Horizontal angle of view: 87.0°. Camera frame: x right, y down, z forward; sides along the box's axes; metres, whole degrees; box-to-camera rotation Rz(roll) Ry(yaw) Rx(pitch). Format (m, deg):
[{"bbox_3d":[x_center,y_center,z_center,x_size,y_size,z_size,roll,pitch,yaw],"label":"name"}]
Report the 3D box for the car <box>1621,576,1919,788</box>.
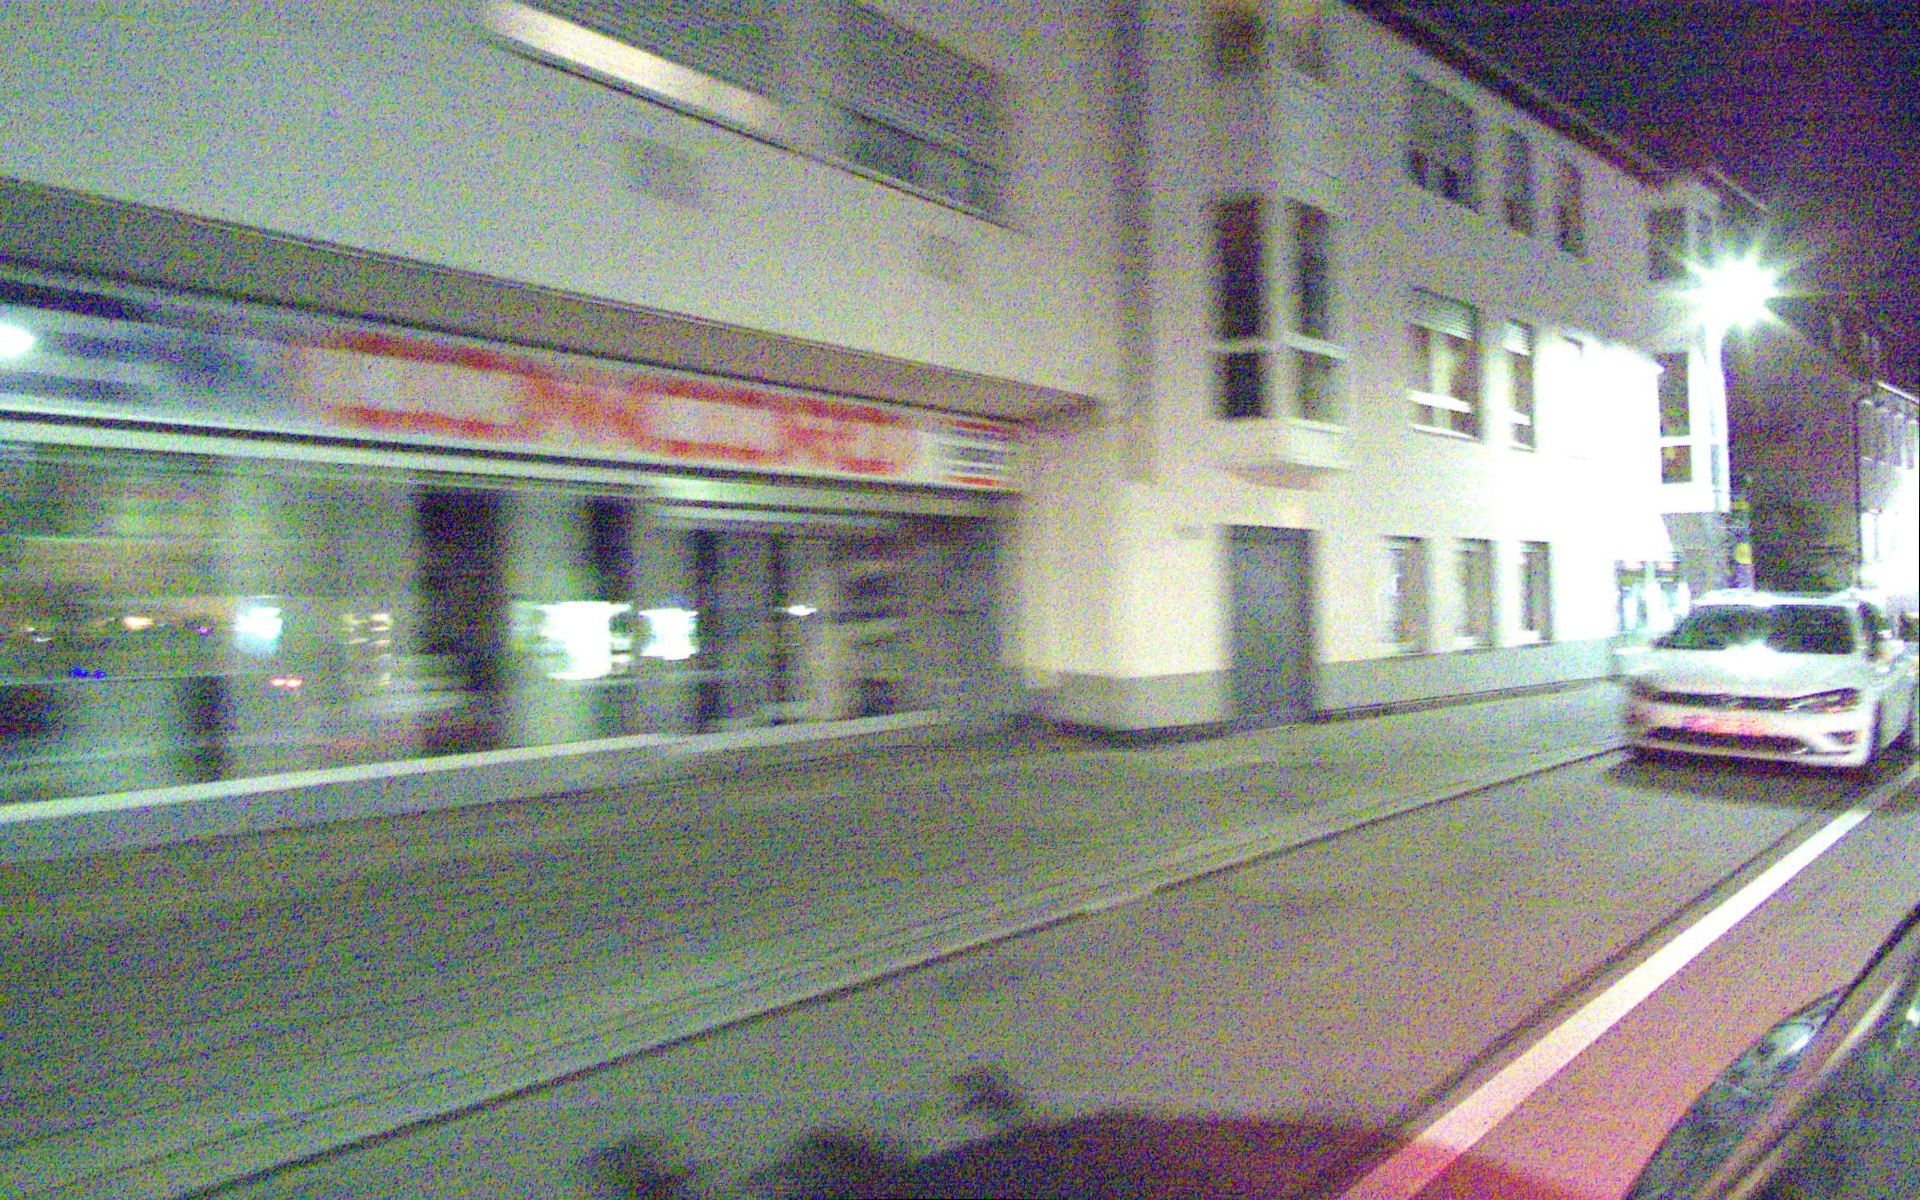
[{"bbox_3d":[7.937,0.598,9.642,4.136,1.589,1.745,0,0,-42],"label":"car"}]
